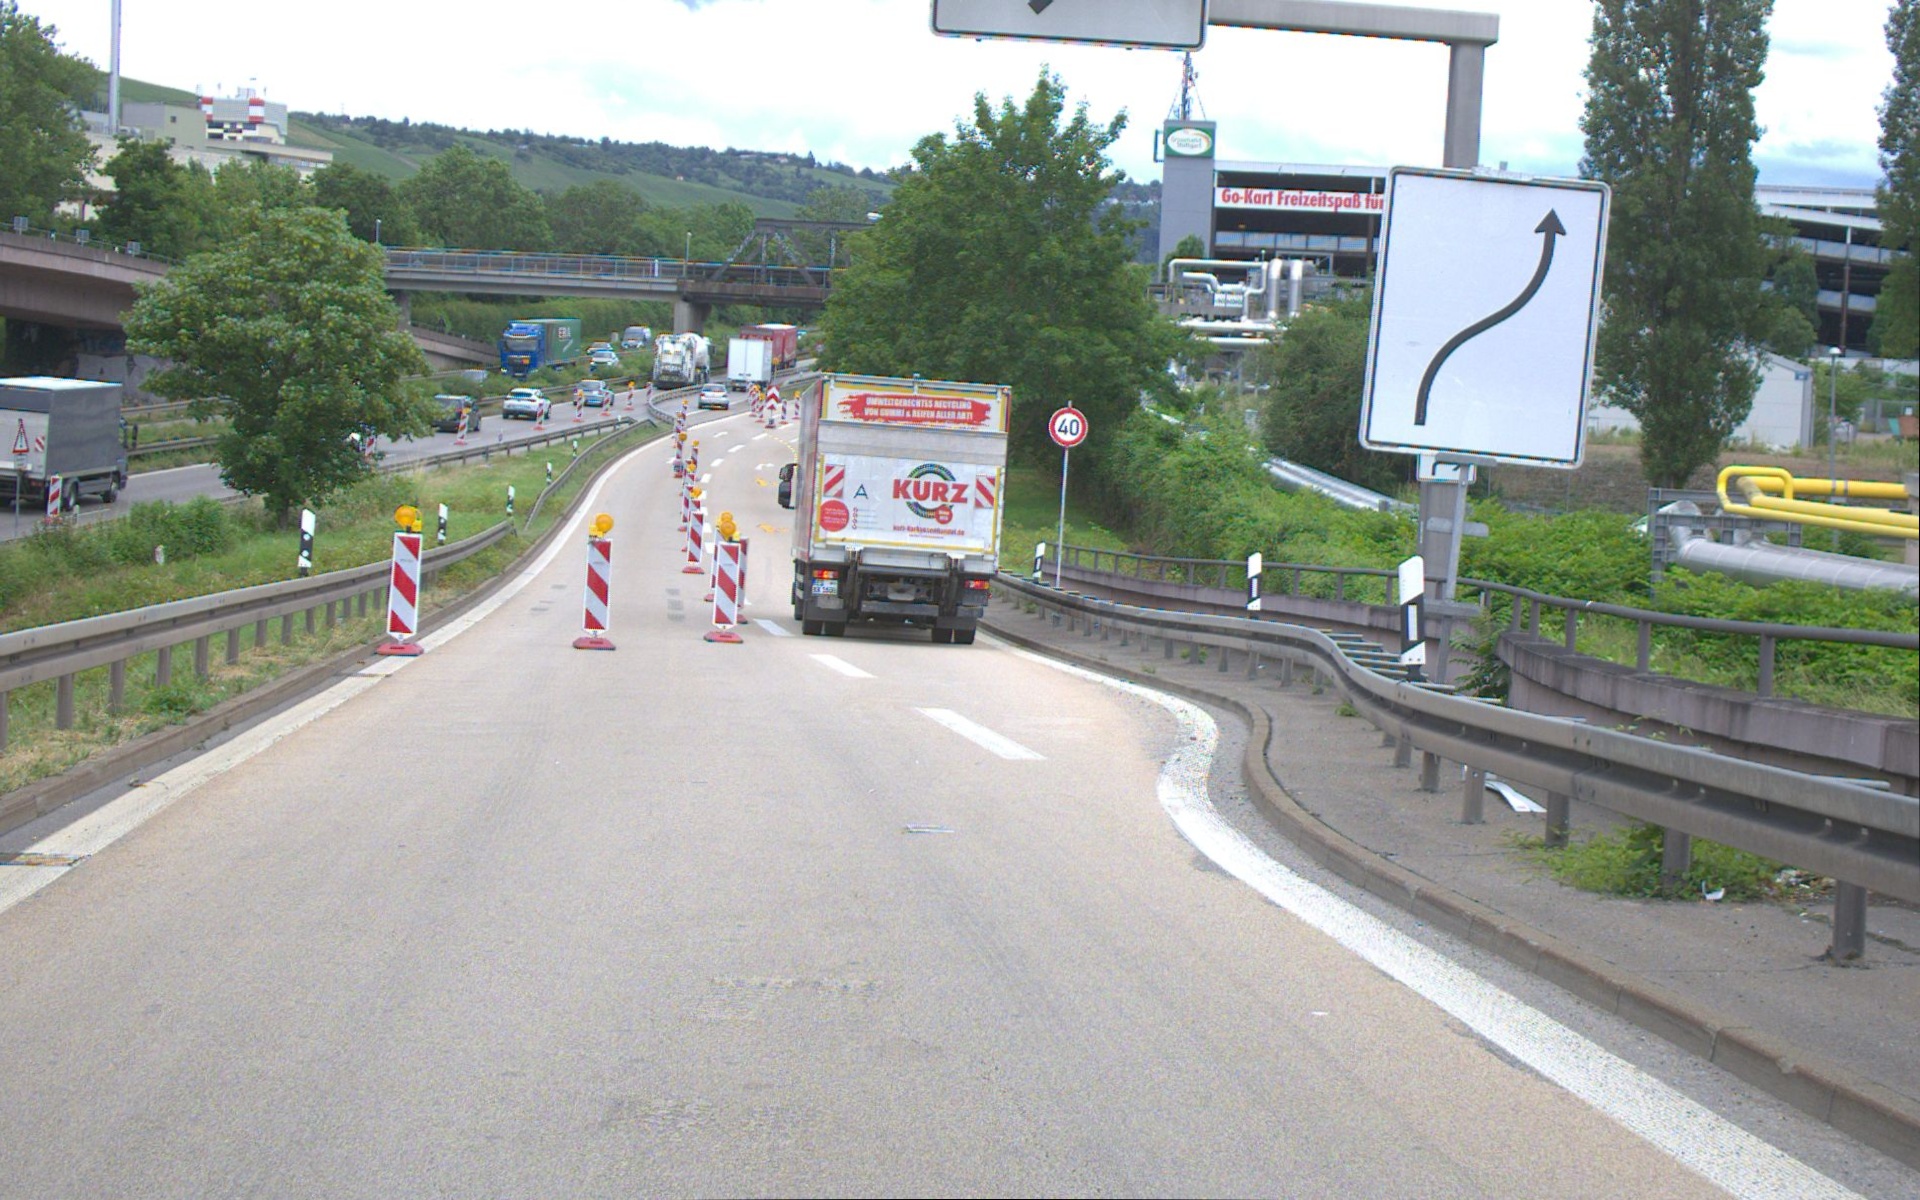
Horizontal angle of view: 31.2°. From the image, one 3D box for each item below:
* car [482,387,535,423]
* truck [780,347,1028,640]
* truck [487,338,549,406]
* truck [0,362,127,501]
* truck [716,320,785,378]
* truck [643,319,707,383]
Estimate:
[{"bbox_3d":[-22.431,-9.716,170.991,1.993,1.612,4.001,3,4,0],"label":"car"},{"bbox_3d":[-0.911,-1.559,48.940,3.050,3.660,7.929,3,2,-3],"label":"truck"},{"bbox_3d":[-28.885,-14.934,224.896,2.753,4.256,5.503,4,4,4],"label":"truck"},{"bbox_3d":[-26.352,-4.887,98.193,3.051,3.643,7.397,3,4,1],"label":"truck"},{"bbox_3d":[-13.817,-16.600,227.436,3.287,3.587,7.665,4,4,5],"label":"truck"},{"bbox_3d":[-18.313,-16.026,221.450,3.286,3.838,7.666,3,4,0],"label":"truck"}]
